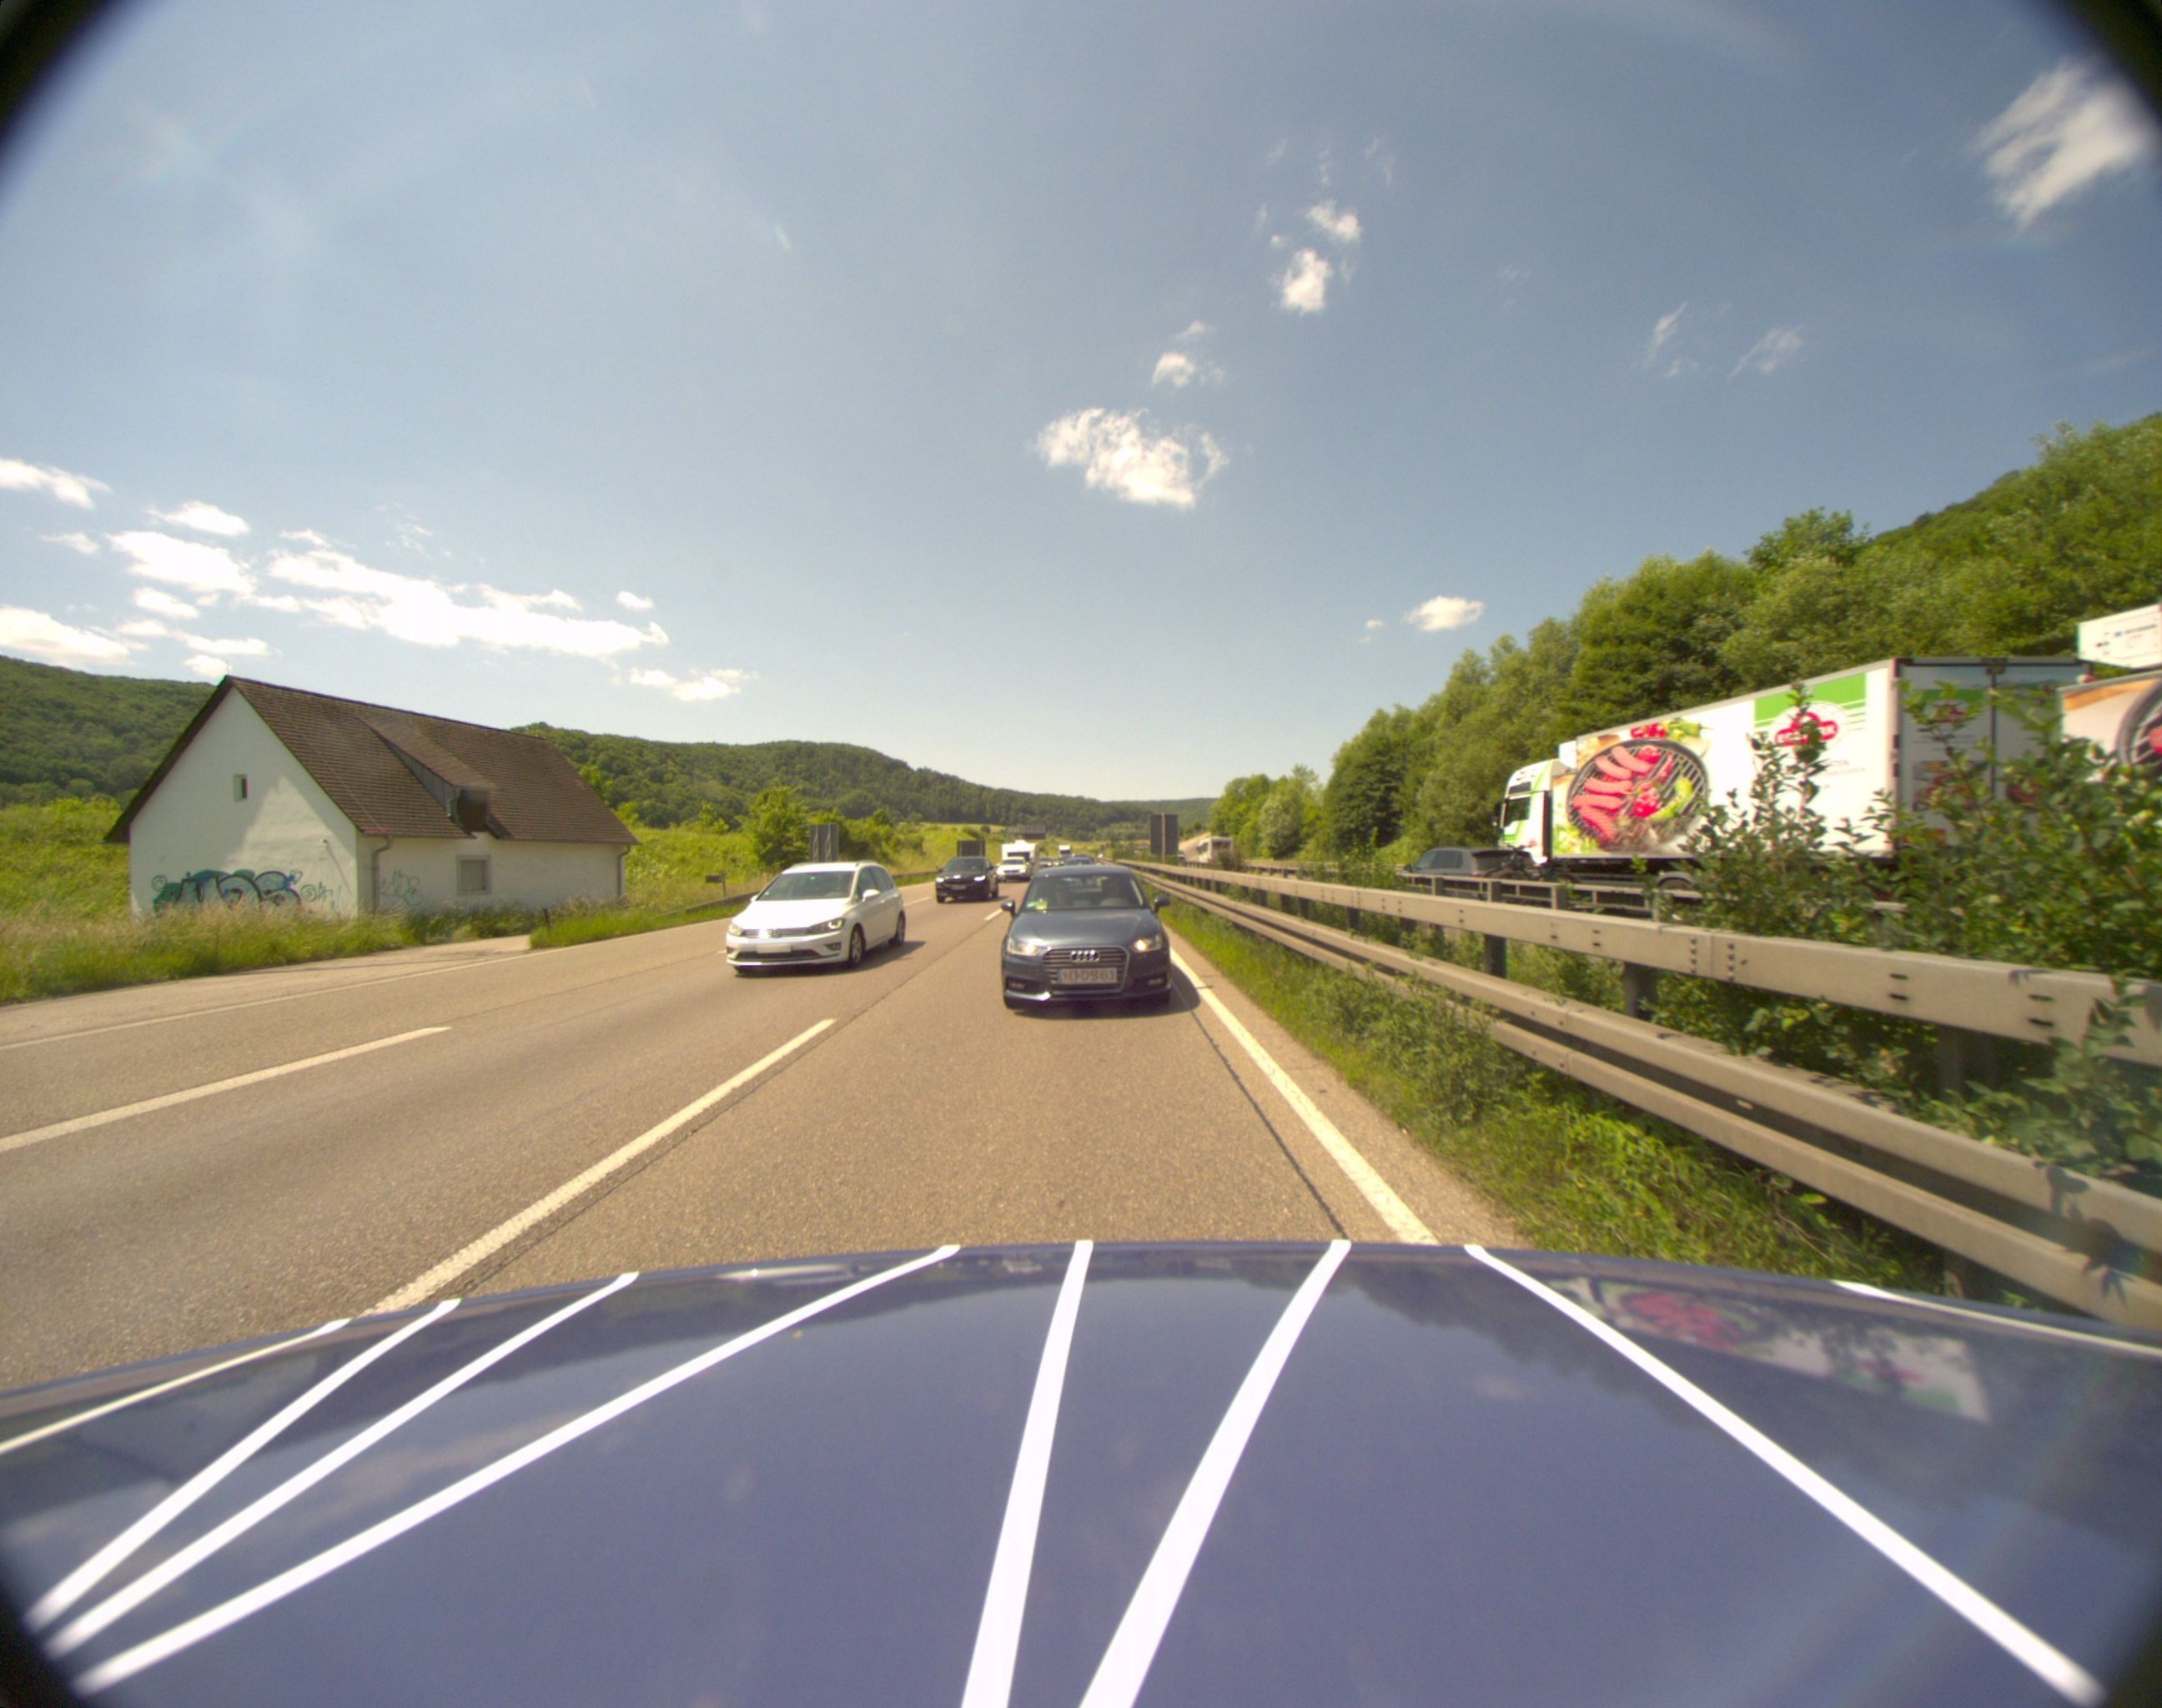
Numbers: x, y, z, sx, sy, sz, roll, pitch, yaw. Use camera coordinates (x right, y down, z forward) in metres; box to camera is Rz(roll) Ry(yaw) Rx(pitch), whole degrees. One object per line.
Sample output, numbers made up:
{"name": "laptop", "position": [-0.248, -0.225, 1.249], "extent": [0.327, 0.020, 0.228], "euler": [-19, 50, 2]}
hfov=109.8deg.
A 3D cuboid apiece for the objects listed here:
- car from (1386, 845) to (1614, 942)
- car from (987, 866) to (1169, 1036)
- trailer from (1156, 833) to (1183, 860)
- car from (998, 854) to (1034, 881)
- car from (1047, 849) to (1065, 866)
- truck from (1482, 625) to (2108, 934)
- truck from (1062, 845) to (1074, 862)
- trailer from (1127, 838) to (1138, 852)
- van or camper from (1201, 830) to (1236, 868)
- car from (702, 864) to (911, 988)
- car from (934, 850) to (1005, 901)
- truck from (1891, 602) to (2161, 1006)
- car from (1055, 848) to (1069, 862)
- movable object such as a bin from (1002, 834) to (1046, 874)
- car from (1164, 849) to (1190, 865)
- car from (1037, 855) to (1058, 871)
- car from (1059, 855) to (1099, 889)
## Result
{"name": "car", "position": [8.378, 0.685, 15.865], "extent": [1.998, 1.631, 5.031], "euler": [-2, 0, 1]}
{"name": "car", "position": [0.103, 0.913, 8.820], "extent": [1.591, 1.401, 4.001], "euler": [-2, 0, 4]}
{"name": "trailer", "position": [14.170, -1.220, 122.703], "extent": [2.789, 3.976, 14.158], "euler": [-1, 0, 1]}
{"name": "car", "position": [-4.111, 0.794, 48.283], "extent": [1.821, 1.574, 4.000], "euler": [-2, 0, 1]}
{"name": "car", "position": [-3.155, 0.393, 95.500], "extent": [1.999, 2.002, 3.998], "euler": [-1, 0, -4]}
{"name": "truck", "position": [12.126, -0.993, 15.121], "extent": [2.876, 3.983, 10.170], "euler": [-2, 0, 0]}
{"name": "truck", "position": [-2.881, -0.071, 173.271], "extent": [2.336, 3.623, 7.006], "euler": [-2, 0, 1]}
{"name": "trailer", "position": [15.566, -2.736, 231.555], "extent": [2.587, 3.982, 12.601], "euler": [-2, 0, 1]}
{"name": "van or camper", "position": [13.077, -0.471, 72.740], "extent": [2.595, 3.316, 7.650], "euler": [-1, 0, 5]}
{"name": "car", "position": [-4.109, 0.987, 12.148], "extent": [1.777, 1.532, 4.054], "euler": [-2, 0, 0]}
{"name": "car", "position": [-4.074, 0.750, 28.323], "extent": [1.893, 1.761, 4.172], "euler": [-1, 0, 2]}
{"name": "truck", "position": [12.029, -0.476, 5.403], "extent": [2.876, 3.957, 9.030], "euler": [0, 0, 0]}
{"name": "car", "position": [-2.915, 0.155, 118.723], "extent": [1.998, 2.002, 3.999], "euler": [-2, 1, 0]}
{"name": "movable object such as a bin", "position": [-4.049, -0.027, 55.287], "extent": [2.481, 2.616, 6.709], "euler": [-2, 0, 1]}
{"name": "car", "position": [9.082, 0.293, 72.075], "extent": [1.802, 1.455, 4.536], "euler": [-1, 0, 0]}
{"name": "car", "position": [-3.242, 0.854, 74.303], "extent": [1.711, 1.542, 4.000], "euler": [-1, 0, 1]}
{"name": "car", "position": [-0.029, 0.848, 37.475], "extent": [1.835, 1.586, 4.000], "euler": [-1, 0, 2]}
